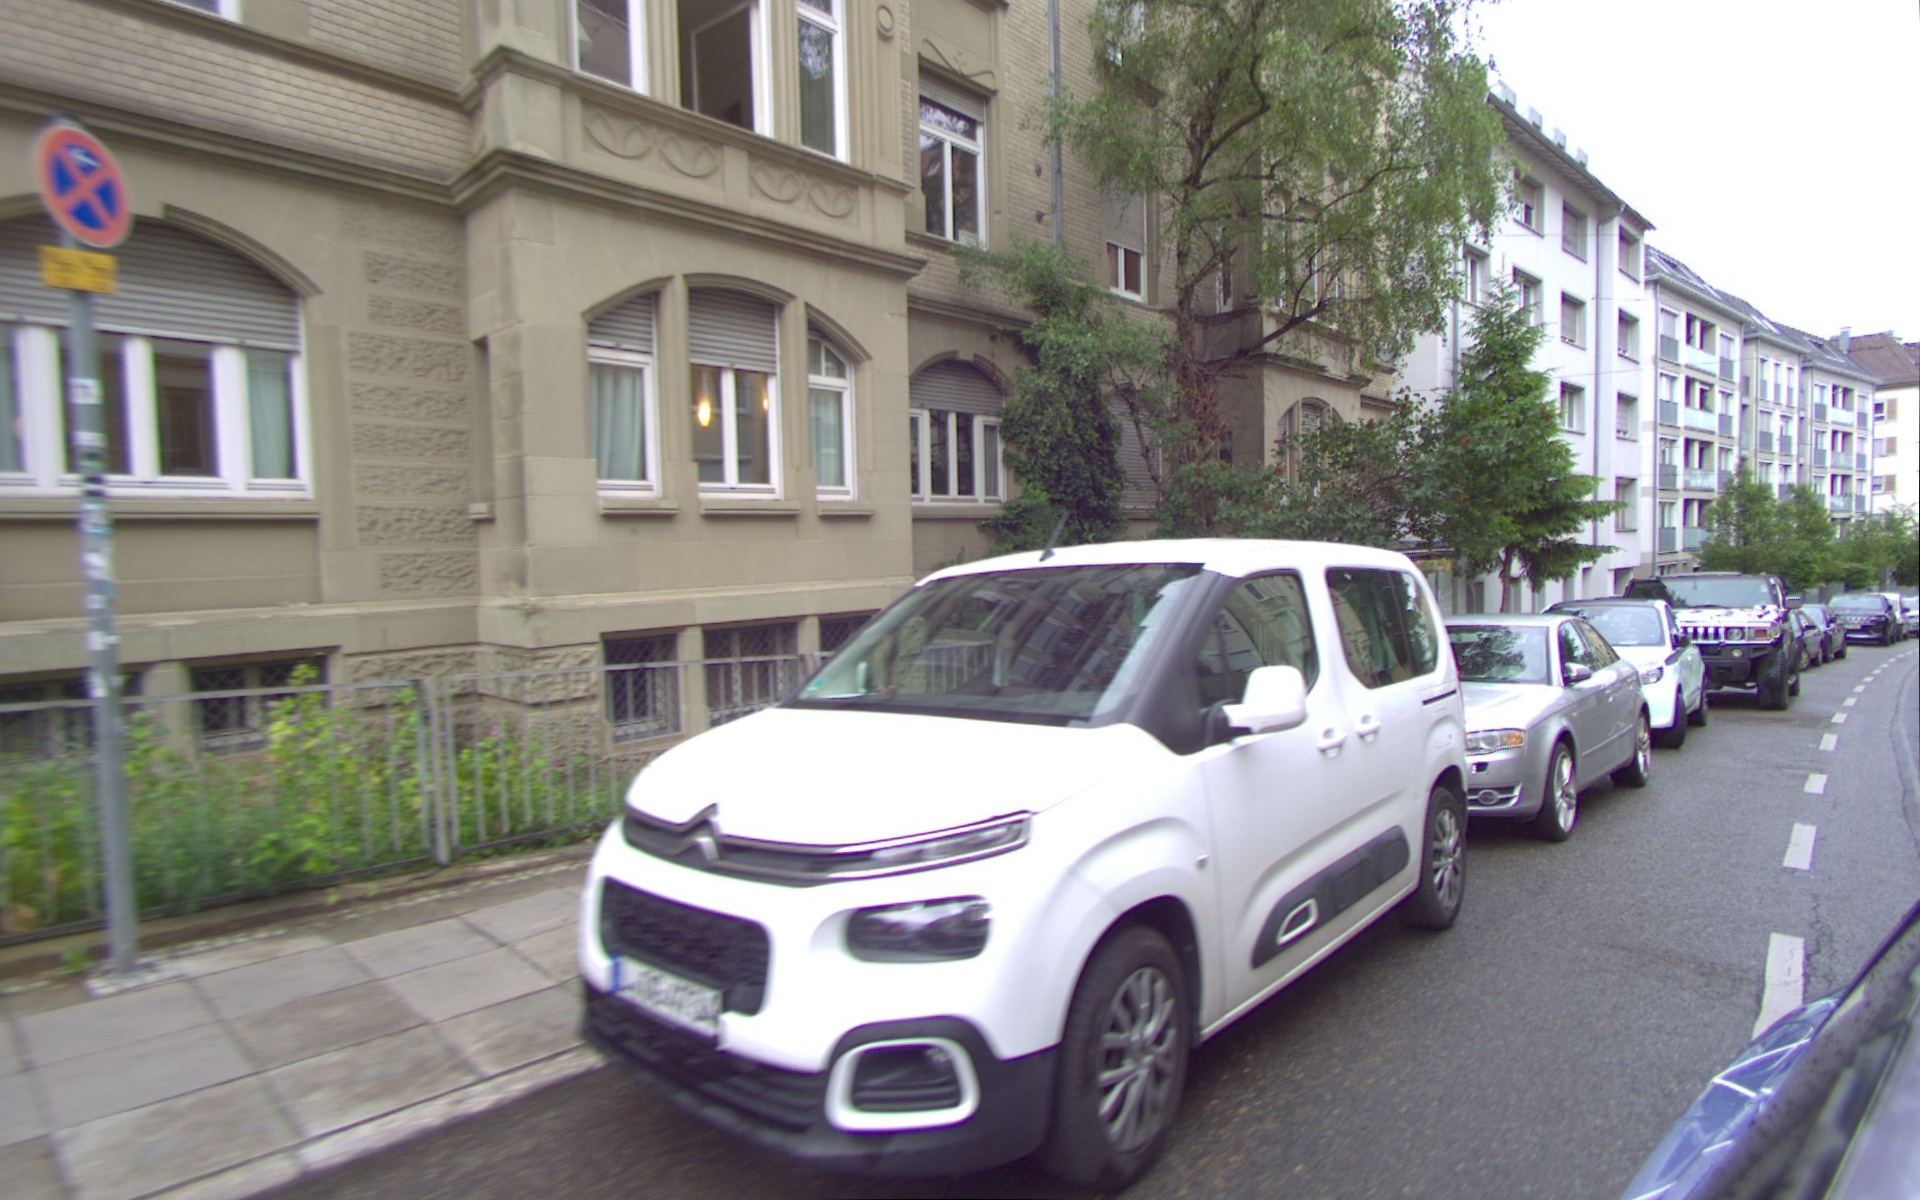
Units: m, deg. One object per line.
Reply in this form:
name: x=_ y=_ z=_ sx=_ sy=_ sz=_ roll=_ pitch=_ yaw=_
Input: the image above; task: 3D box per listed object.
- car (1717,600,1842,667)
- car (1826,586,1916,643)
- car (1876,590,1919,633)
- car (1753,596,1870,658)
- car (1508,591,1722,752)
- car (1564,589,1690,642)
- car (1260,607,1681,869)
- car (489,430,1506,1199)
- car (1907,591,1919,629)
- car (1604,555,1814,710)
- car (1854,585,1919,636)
car: x=18.680 y=0.697 z=23.030 sx=3.816 sy=1.355 sz=1.680 roll=0 pitch=0 yaw=-43
car: x=31.672 y=0.444 z=35.136 sx=4.740 sy=1.818 sz=1.944 roll=-1 pitch=1 yaw=-43
car: x=40.315 y=0.442 z=42.770 sx=4.605 sy=1.677 sz=1.835 roll=-1 pitch=2 yaw=-41
car: x=22.265 y=0.634 z=26.404 sx=4.533 sy=1.455 sz=1.796 roll=0 pitch=0 yaw=-43
car: x=7.662 y=0.692 z=11.706 sx=1.558 sy=1.566 sz=3.530 roll=-1 pitch=-1 yaw=41
car: x=19.421 y=0.435 z=29.435 sx=4.077 sy=1.445 sz=1.817 roll=0 pitch=-1 yaw=-38
car: x=4.201 y=0.799 z=7.919 sx=1.748 sy=1.418 sz=4.408 roll=-1 pitch=-1 yaw=43
car: x=0.671 y=0.573 z=4.152 sx=1.796 sy=1.787 sz=4.396 roll=-1 pitch=-1 yaw=41
car: x=44.665 y=0.437 z=46.091 sx=4.584 sy=1.648 sz=1.835 roll=-1 pitch=1 yaw=-42
car: x=11.941 y=0.421 z=15.957 sx=2.127 sy=2.039 sz=5.268 roll=-1 pitch=-1 yaw=42
car: x=35.798 y=0.362 z=38.837 sx=4.395 sy=1.817 sz=1.781 roll=0 pitch=1 yaw=-42
